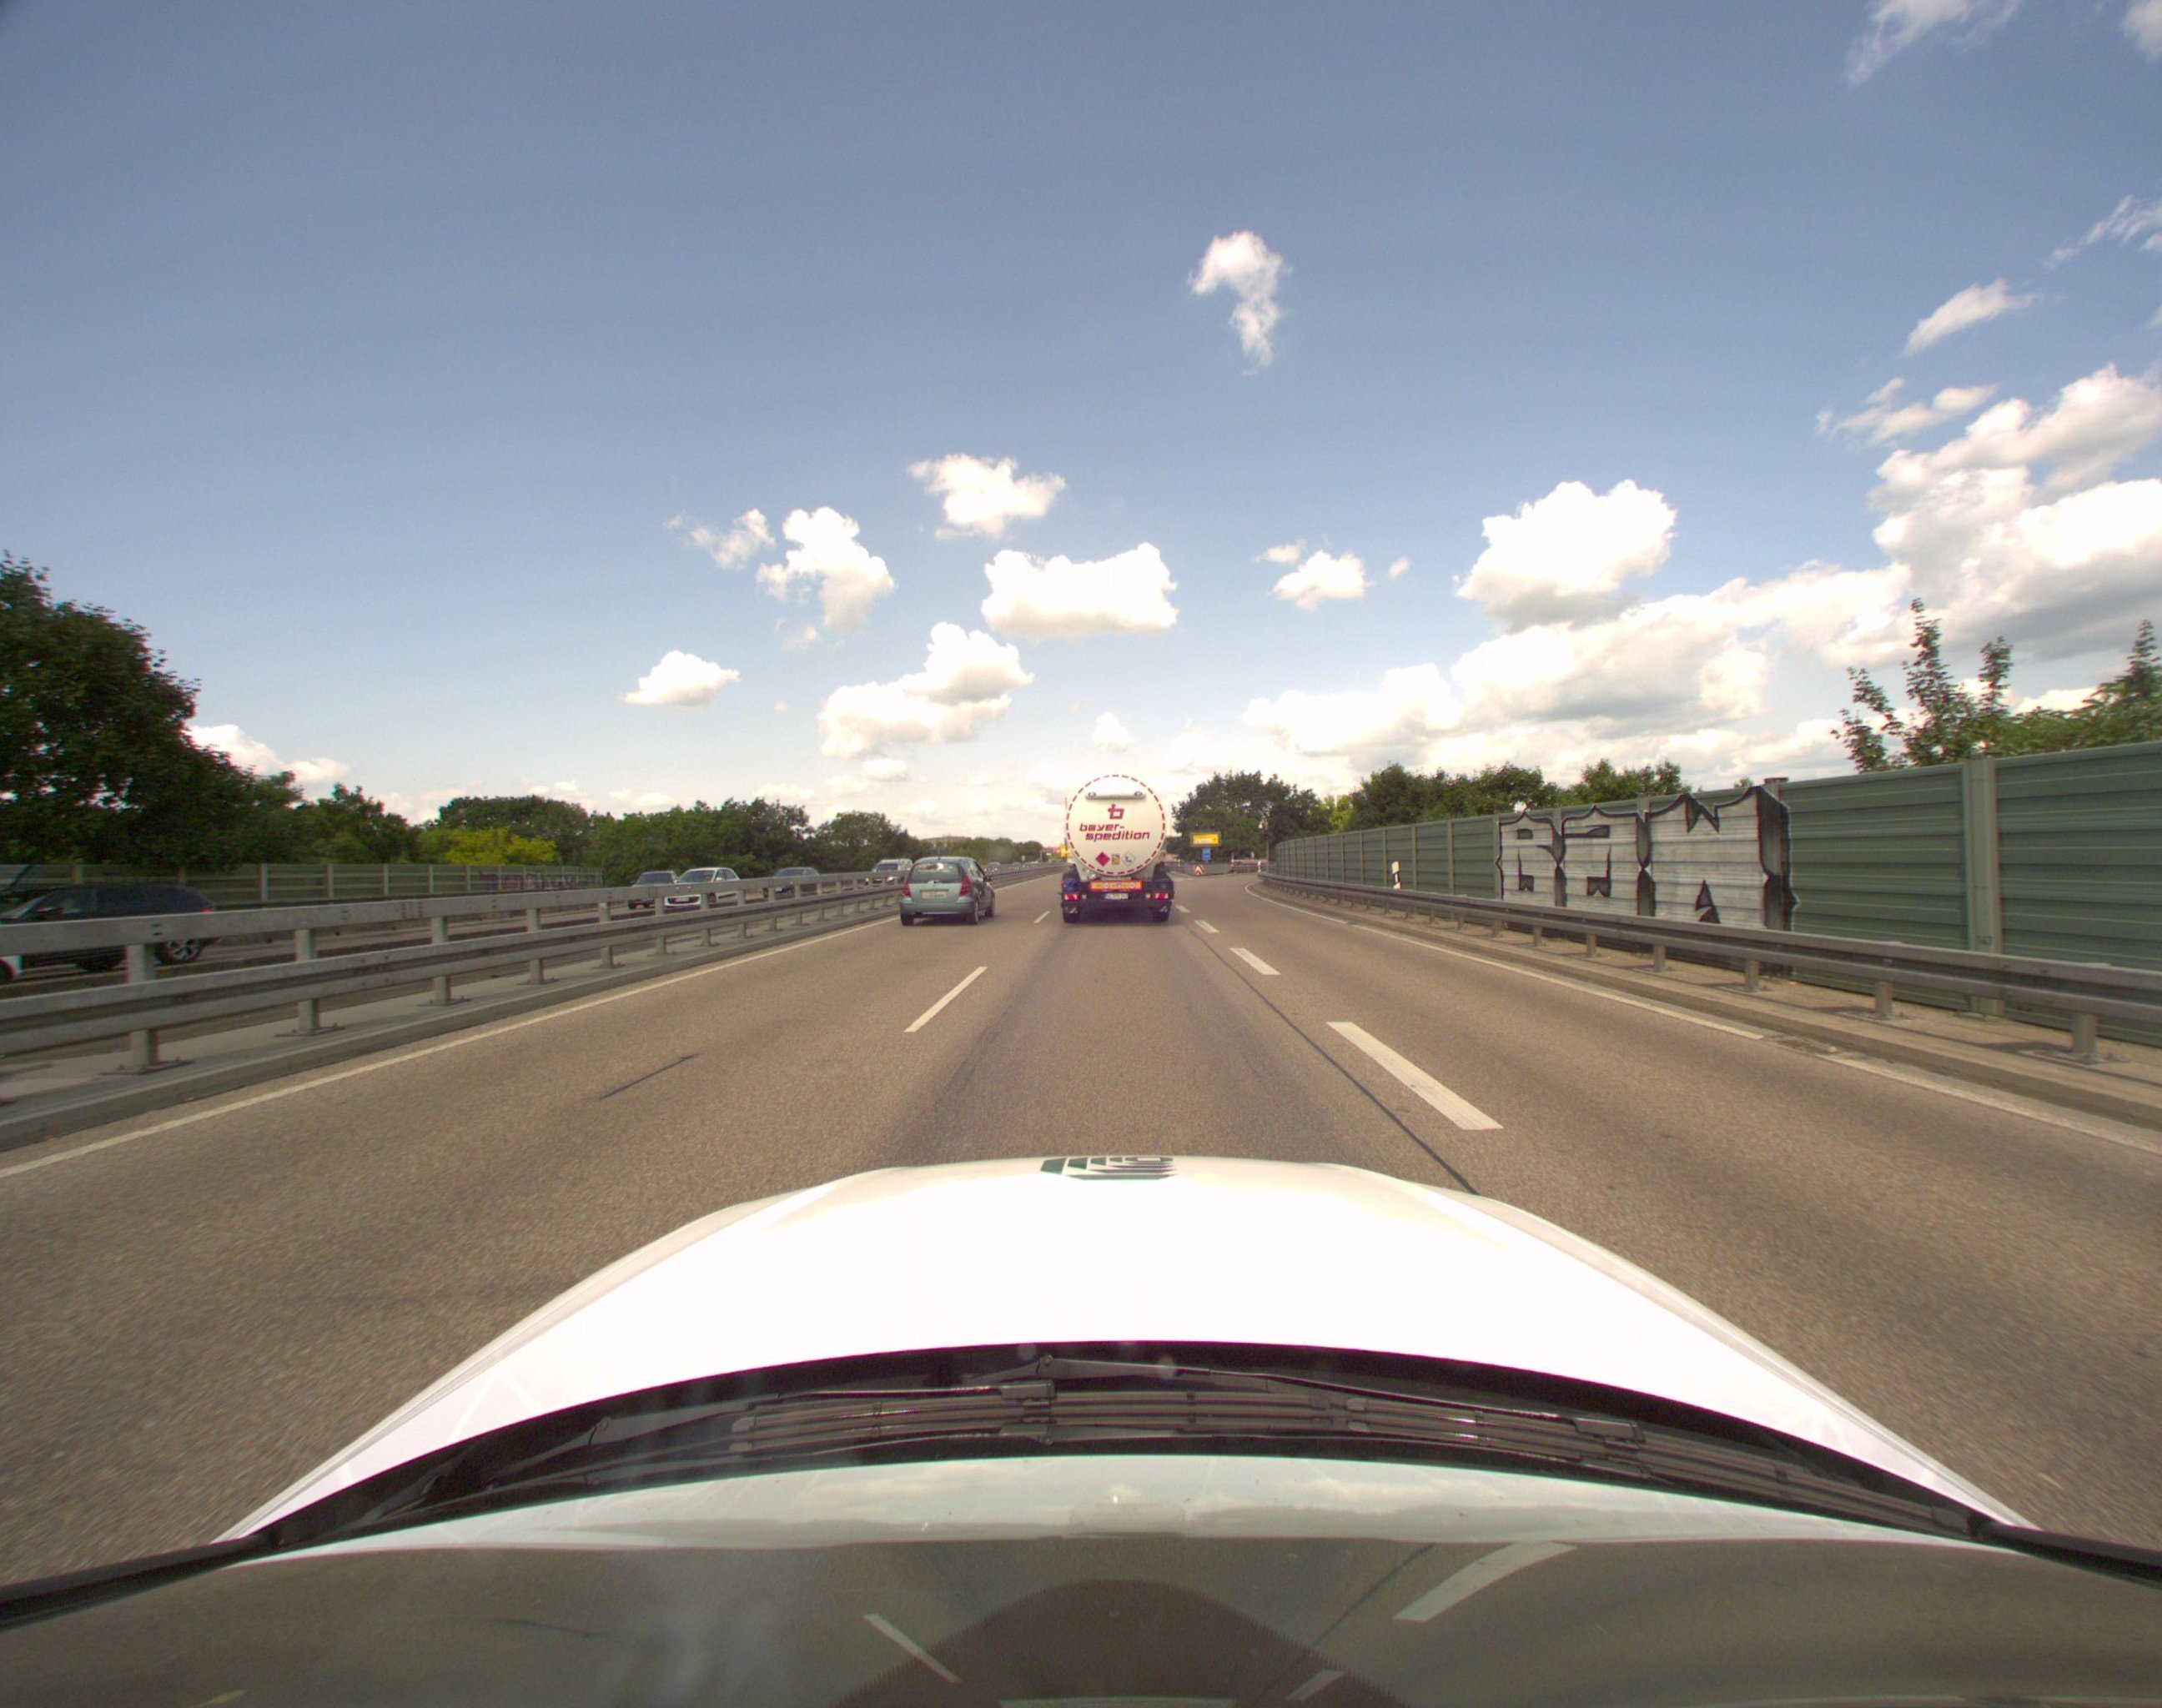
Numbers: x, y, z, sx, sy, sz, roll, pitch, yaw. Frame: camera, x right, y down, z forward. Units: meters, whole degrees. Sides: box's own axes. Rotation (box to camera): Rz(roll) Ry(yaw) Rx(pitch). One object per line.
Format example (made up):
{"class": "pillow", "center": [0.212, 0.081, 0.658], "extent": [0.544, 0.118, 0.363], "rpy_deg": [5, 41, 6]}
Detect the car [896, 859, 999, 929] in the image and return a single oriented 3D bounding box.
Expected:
{"class": "car", "center": [-3.175, 0.899, 20.121], "extent": [1.741, 1.531, 4.002], "rpy_deg": [-1, 0, 2]}

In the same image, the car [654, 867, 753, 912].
{"class": "car", "center": [-14.381, 1.311, 31.241], "extent": [1.917, 1.574, 3.887], "rpy_deg": [0, -1, 1]}

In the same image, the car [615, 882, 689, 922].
{"class": "car", "center": [-19.685, 2.145, 37.549], "extent": [1.925, 1.574, 4.265], "rpy_deg": [-1, 0, -12]}

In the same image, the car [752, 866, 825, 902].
{"class": "car", "center": [-14.211, 1.420, 39.826], "extent": [1.917, 1.574, 4.245], "rpy_deg": [-3, -1, 1]}

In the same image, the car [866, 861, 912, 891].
{"class": "car", "center": [-13.160, 1.455, 56.270], "extent": [1.954, 1.925, 5.190], "rpy_deg": [0, 0, 0]}

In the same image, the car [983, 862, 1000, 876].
{"class": "car", "center": [-11.059, 1.835, 101.181], "extent": [1.577, 1.711, 4.410], "rpy_deg": [0, 0, 0]}

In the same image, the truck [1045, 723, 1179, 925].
{"class": "truck", "center": [0.788, -0.613, 21.644], "extent": [2.884, 4.369, 8.031], "rpy_deg": [0, -1, 2]}

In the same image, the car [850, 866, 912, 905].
{"class": "car", "center": [-9.869, 1.516, 40.501], "extent": [1.987, 1.857, 4.239], "rpy_deg": [0, -1, 1]}

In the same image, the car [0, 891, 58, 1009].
{"class": "car", "center": [-14.982, 1.243, 9.191], "extent": [1.776, 1.509, 3.961], "rpy_deg": [0, -1, 2]}

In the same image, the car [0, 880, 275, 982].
{"class": "car", "center": [-18.684, 1.398, 15.792], "extent": [1.708, 1.619, 4.283], "rpy_deg": [-3, -1, 2]}
